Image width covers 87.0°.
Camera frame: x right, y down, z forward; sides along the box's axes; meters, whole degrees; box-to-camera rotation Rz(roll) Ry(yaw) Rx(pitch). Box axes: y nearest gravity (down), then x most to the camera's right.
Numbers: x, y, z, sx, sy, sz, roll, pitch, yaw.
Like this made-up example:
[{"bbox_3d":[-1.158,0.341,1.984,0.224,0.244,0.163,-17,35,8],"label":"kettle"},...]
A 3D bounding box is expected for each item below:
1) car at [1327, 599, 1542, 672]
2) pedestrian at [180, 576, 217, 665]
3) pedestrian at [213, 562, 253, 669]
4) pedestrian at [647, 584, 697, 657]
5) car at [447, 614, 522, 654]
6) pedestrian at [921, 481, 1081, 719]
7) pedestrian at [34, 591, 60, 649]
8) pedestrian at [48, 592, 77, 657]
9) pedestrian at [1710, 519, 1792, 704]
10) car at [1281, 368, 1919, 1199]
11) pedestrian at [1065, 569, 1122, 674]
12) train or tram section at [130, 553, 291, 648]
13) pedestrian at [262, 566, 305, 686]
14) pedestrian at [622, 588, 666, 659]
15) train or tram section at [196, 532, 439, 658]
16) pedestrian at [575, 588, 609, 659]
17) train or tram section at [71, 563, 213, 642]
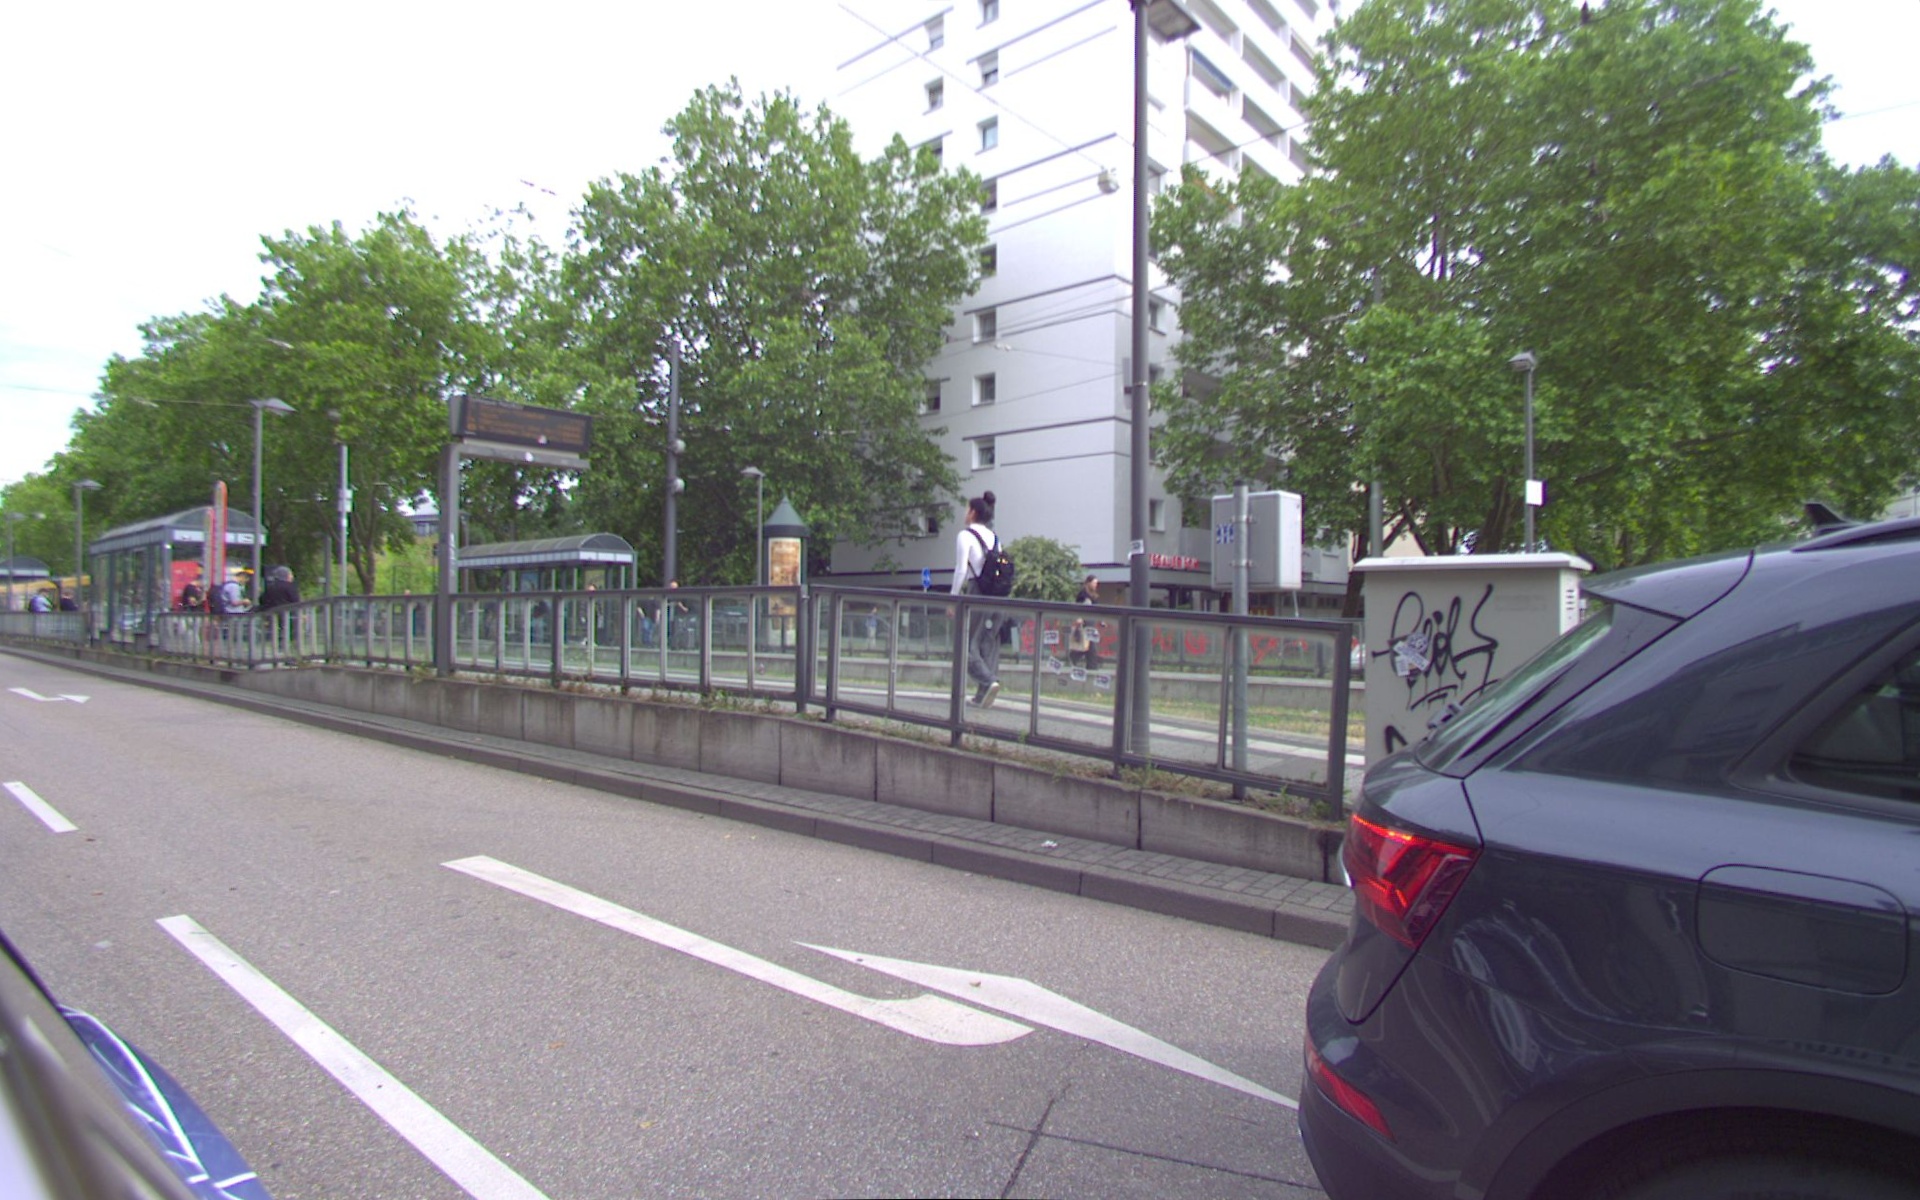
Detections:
[{"bbox_3d":[10.757,0.782,23.164,3.944,1.564,1.934,-1,0,0],"label":"car"},{"bbox_3d":[-15.917,0.418,21.164,0.467,1.818,0.607,-1,0,-24],"label":"pedestrian"},{"bbox_3d":[-12.697,0.265,17.671,0.605,1.818,0.469,-1,0,45],"label":"pedestrian"},{"bbox_3d":[-7.180,0.502,25.246,0.850,1.769,0.871,-1,0,41],"label":"pedestrian"},{"bbox_3d":[-18.302,1.279,38.937,3.221,1.439,1.560,-1,-1,44],"label":"car"},{"bbox_3d":[0.307,-0.002,7.751,0.979,1.683,0.711,-1,0,44],"label":"pedestrian"},{"bbox_3d":[-29.029,0.623,32.187,0.523,1.818,0.607,-1,0,-35],"label":"pedestrian"},{"bbox_3d":[-25.560,0.692,28.825,0.523,1.818,0.607,-1,0,-35],"label":"pedestrian"},{"bbox_3d":[8.810,0.121,11.264,0.666,1.965,0.728,-1,0,41],"label":"pedestrian"},{"bbox_3d":[2.697,0.529,0.973,4.225,1.649,1.715,-1,0,41],"label":"car"},{"bbox_3d":[2.292,0.362,17.408,0.666,1.763,0.728,-1,0,41],"label":"pedestrian"},{"bbox_3d":[-34.151,0.054,45.795,12.543,3.781,3.295,-1,0,41],"label":"train or tram section"},{"bbox_3d":[-10.521,0.388,15.743,0.513,1.818,0.606,-1,0,-37],"label":"pedestrian"},{"bbox_3d":[-8.385,0.602,26.848,0.666,1.848,0.871,-1,0,41],"label":"pedestrian"},{"bbox_3d":[-23.681,-0.081,36.595,15.196,3.781,3.295,-1,0,41],"label":"train or tram section"},{"bbox_3d":[-10.260,0.642,28.236,0.553,1.945,0.690,-1,0,41],"label":"pedestrian"},{"bbox_3d":[-44.988,0.194,55.297,16.241,3.781,3.295,-1,0,41],"label":"train or tram section"}]
